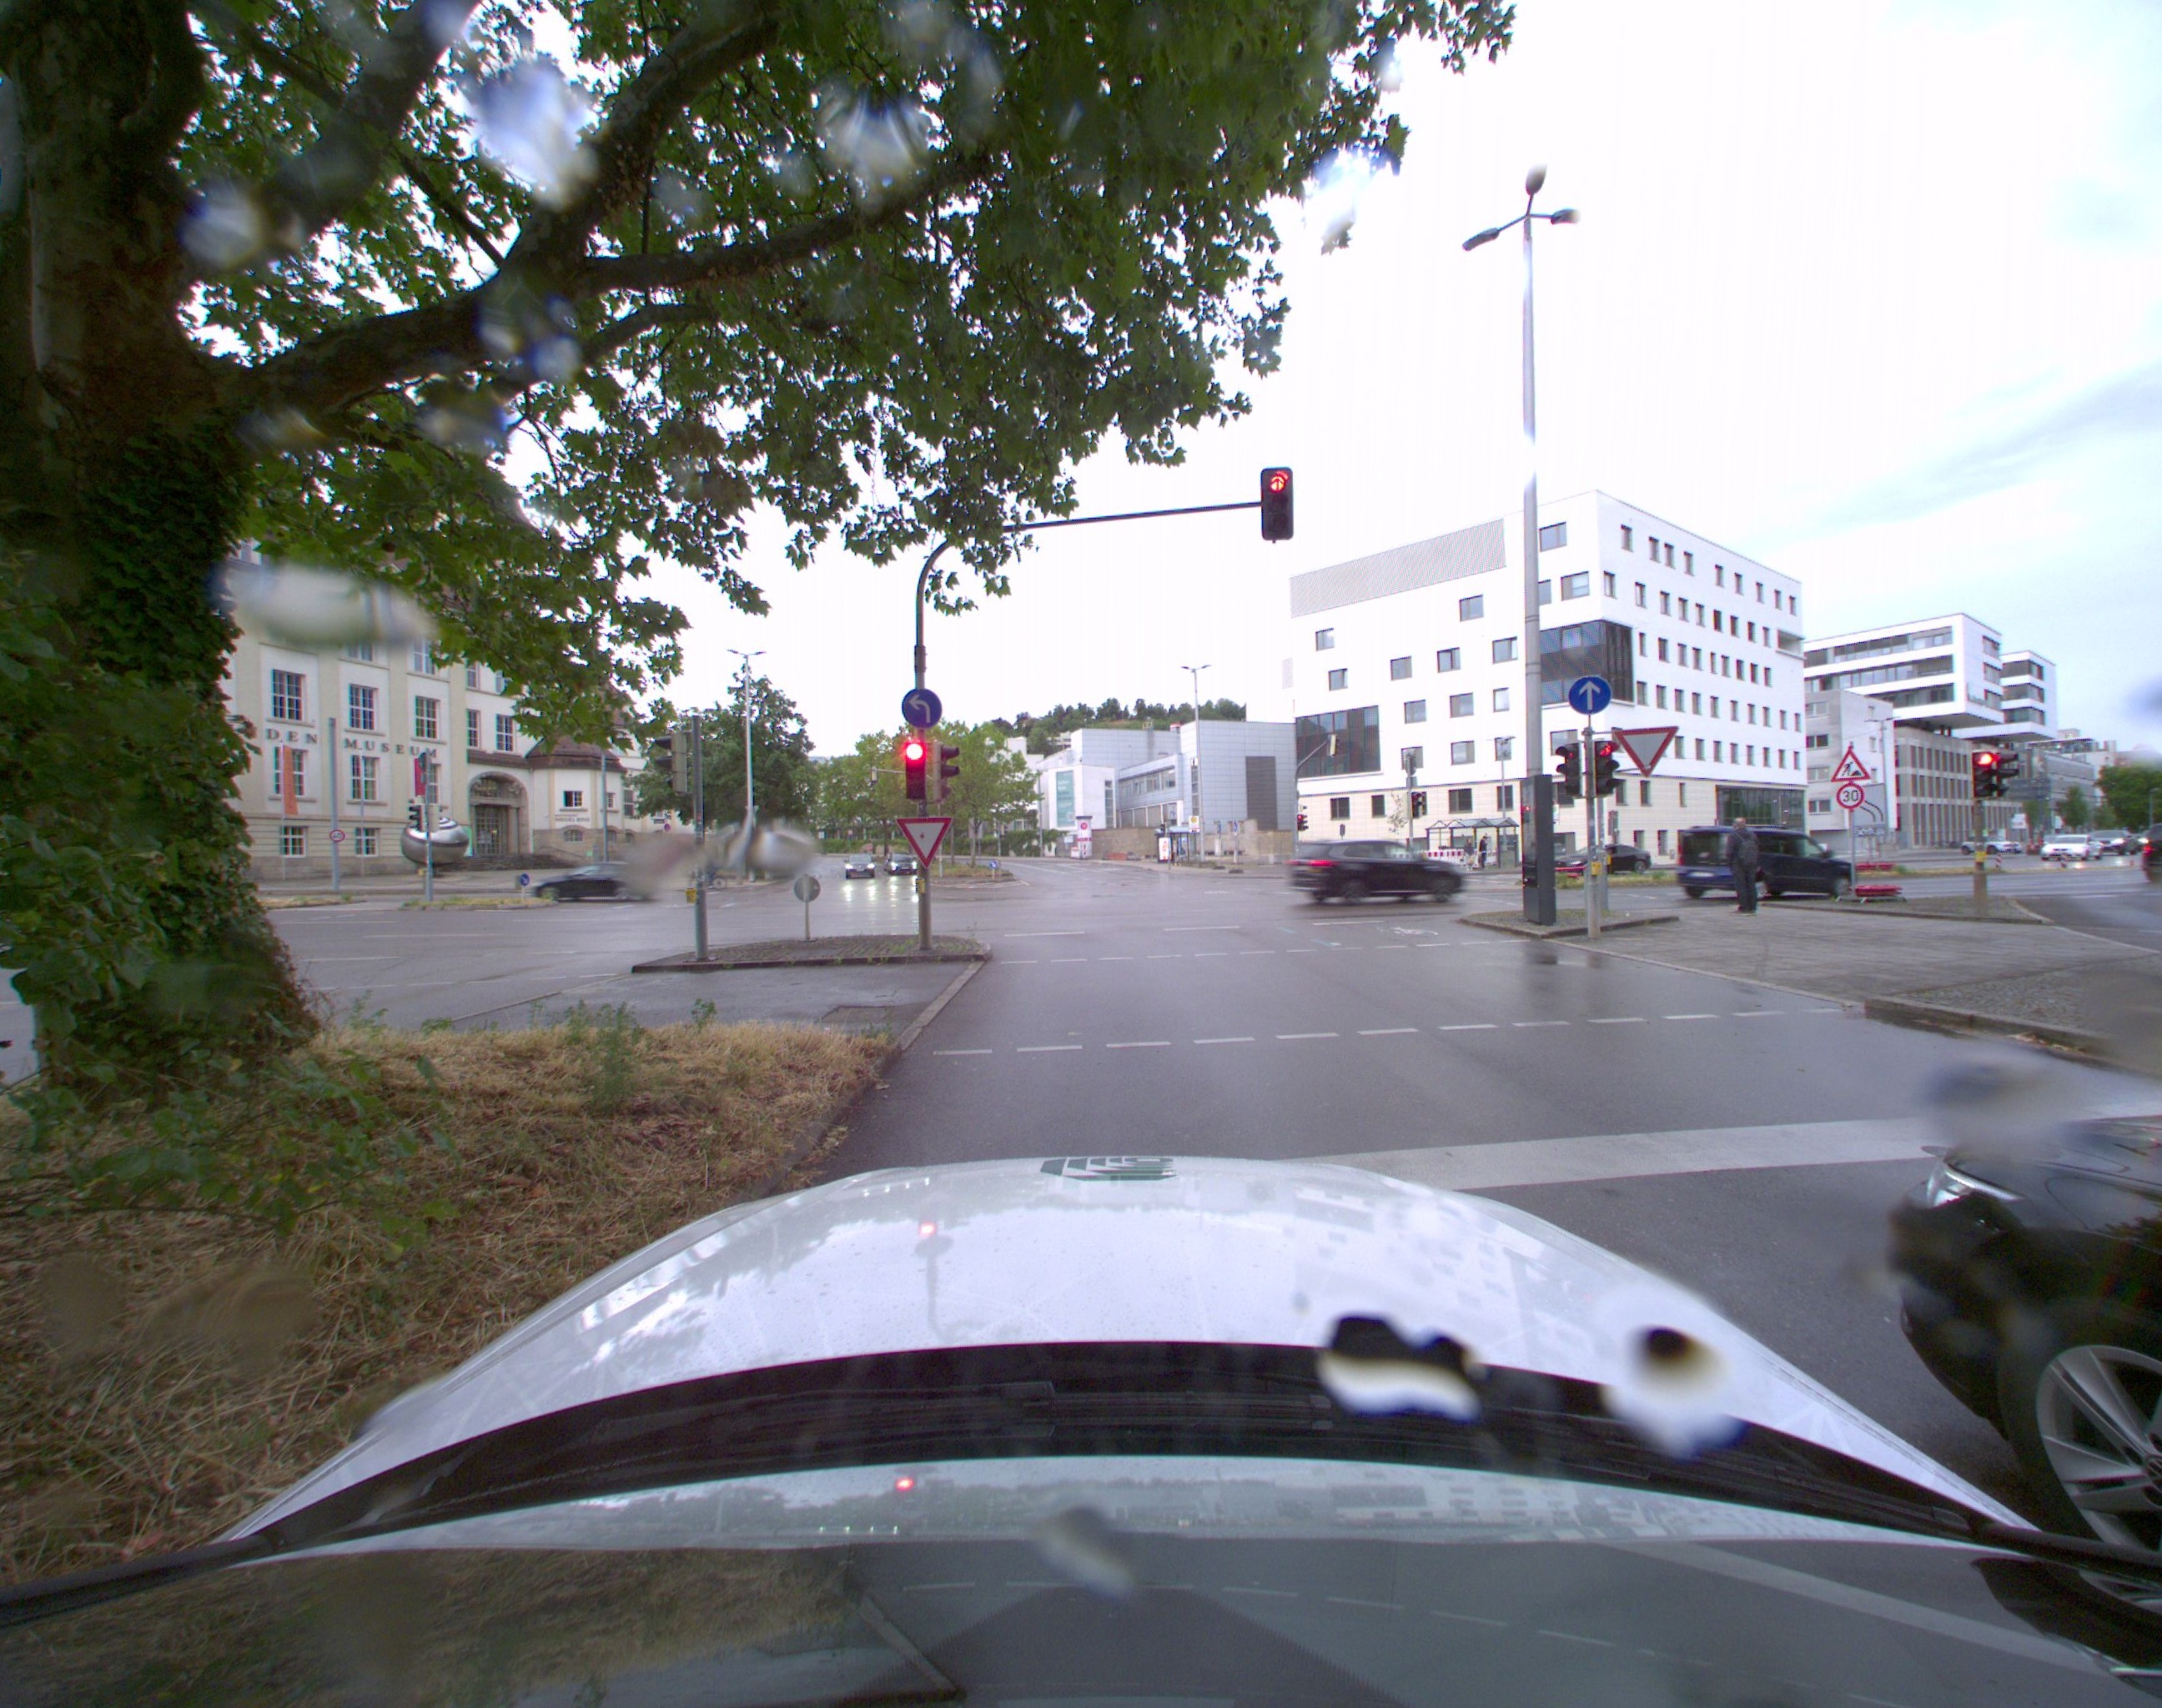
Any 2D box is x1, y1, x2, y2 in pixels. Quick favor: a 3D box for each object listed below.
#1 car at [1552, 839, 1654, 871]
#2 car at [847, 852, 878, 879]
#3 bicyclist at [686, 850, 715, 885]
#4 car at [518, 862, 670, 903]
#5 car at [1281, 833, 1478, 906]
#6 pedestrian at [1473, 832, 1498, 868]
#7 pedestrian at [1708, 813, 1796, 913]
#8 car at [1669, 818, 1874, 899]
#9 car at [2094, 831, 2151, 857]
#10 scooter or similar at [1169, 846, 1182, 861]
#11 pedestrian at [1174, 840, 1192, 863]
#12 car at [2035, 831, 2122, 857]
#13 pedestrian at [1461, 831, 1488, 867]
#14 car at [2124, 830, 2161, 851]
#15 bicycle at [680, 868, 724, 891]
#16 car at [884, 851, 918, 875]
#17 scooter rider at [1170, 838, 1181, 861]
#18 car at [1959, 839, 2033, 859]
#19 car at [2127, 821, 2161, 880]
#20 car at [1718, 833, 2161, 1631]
[{"bbox_3d":[24.464,0.068,38.185,3.991,1.444,1.790,0,0,-13],"label":"car"},{"bbox_3d":[-14.584,0.726,54.283,1.871,1.564,4.254,-2,1,-15],"label":"car"},{"bbox_3d":[-18.241,0.640,39.056,1.127,1.633,0.698,0,-1,-16],"label":"bicyclist"},{"bbox_3d":[-18.109,1.030,30.463,4.367,1.378,1.996,-1,0,-6],"label":"car"},{"bbox_3d":[7.771,0.344,21.270,4.681,1.705,1.789,-1,1,-15],"label":"car"},{"bbox_3d":[21.779,-0.196,43.878,0.995,1.935,0.957,0,-1,11],"label":"pedestrian"},{"bbox_3d":[13.142,0.180,15.978,0.826,1.892,1.025,0,-1,-7],"label":"pedestrian"},{"bbox_3d":[17.691,0.079,20.927,4.299,1.908,1.790,-1,1,-12],"label":"car"},{"bbox_3d":[68.279,-0.653,53.358,4.405,1.664,1.979,-1,0,-34],"label":"car"},{"bbox_3d":[7.701,-0.027,66.451,0.593,1.239,1.305,1,-1,-19],"label":"scooter or similar"},{"bbox_3d":[7.747,-0.219,61.637,1.253,1.719,1.016,0,-1,0],"label":"pedestrian"},{"bbox_3d":[57.169,-0.564,46.675,3.996,1.444,1.788,0,0,-17],"label":"car"},{"bbox_3d":[20.219,-0.255,41.874,0.951,1.840,0.821,0,-1,-10],"label":"pedestrian"},{"bbox_3d":[81.002,-0.973,61.544,4.169,1.537,1.949,0,0,-28],"label":"car"},{"bbox_3d":[-18.171,1.204,39.082,1.818,1.056,0.644,-1,-1,-15],"label":"bicycle"},{"bbox_3d":[-12.896,0.592,58.194,1.795,1.584,3.973,-2,1,-20],"label":"car"},{"bbox_3d":[7.724,-0.349,66.373,0.725,1.883,0.628,1,-1,-18],"label":"scooter rider"},{"bbox_3d":[75.891,-0.427,67.654,1.949,1.557,4.073,0,0,8],"label":"car"},{"bbox_3d":[35.640,-0.159,25.410,4.779,1.809,1.990,-2,1,-15],"label":"car"},{"bbox_3d":[2.798,0.713,0.309,1.664,1.466,4.514,-1,1,1],"label":"car"}]
